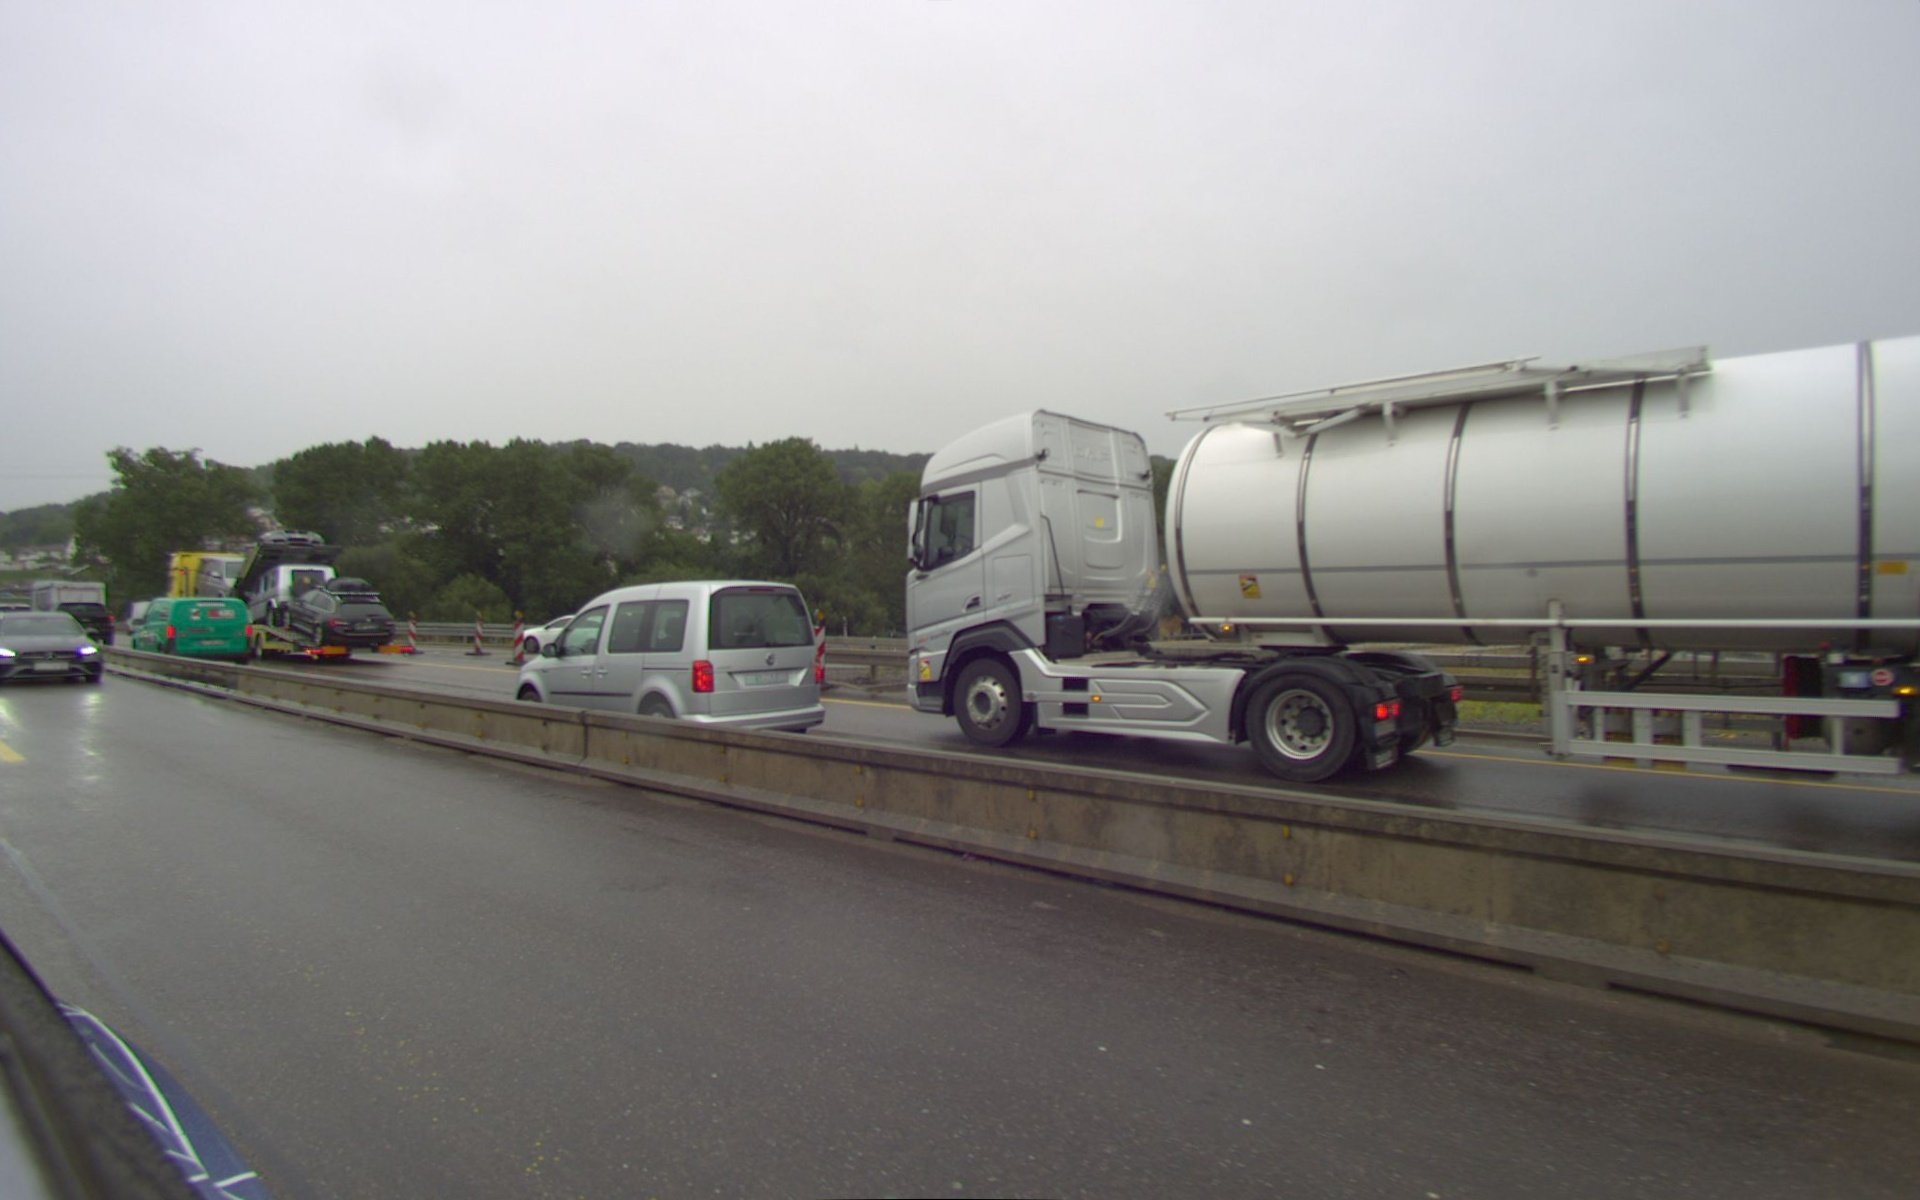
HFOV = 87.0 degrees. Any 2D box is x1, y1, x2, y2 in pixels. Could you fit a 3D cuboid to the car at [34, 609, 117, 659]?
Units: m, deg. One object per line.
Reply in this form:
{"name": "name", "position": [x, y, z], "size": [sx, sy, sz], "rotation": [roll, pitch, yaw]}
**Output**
{"name": "car", "position": [-34.437, 1.288, 39.360], "size": [5.188, 1.819, 1.768], "rotation": [-1, -2, 42]}

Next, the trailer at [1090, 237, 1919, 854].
{"name": "trailer", "position": [6.646, -0.324, 7.043], "size": [11.998, 3.705, 2.593], "rotation": [-1, -1, 41]}

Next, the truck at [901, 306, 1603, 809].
{"name": "truck", "position": [2.633, -0.265, 10.602], "size": [6.592, 3.705, 2.593], "rotation": [-1, -1, 41]}

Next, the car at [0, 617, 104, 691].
{"name": "car", "position": [-20.251, 1.104, 22.024], "size": [4.483, 1.449, 1.926], "rotation": [-1, -1, 43]}

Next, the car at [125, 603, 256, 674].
{"name": "car", "position": [-20.835, 0.997, 27.336], "size": [4.686, 1.772, 1.972], "rotation": [-1, -1, 42]}

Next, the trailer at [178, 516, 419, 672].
{"name": "trailer", "position": [-21.874, -0.062, 32.719], "size": [15.355, 4.073, 2.720], "rotation": [-1, -1, 42]}

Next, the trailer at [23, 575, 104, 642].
{"name": "trailer", "position": [-57.340, 0.569, 64.608], "size": [9.816, 3.994, 2.657], "rotation": [-1, -2, 42]}

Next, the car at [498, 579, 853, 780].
{"name": "car", "position": [-3.273, 0.750, 11.210], "size": [4.161, 1.813, 1.846], "rotation": [-1, -1, 41]}

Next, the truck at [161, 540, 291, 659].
{"name": "truck", "position": [-27.531, 0.029, 37.862], "size": [6.146, 4.093, 2.720], "rotation": [-1, -1, 42]}

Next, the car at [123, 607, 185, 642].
{"name": "car", "position": [-49.181, 1.487, 61.716], "size": [5.045, 2.029, 2.240], "rotation": [-1, -1, 42]}

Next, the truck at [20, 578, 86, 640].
{"name": "truck", "position": [-60.446, 0.615, 67.423], "size": [5.272, 3.957, 2.657], "rotation": [-1, -2, 42]}

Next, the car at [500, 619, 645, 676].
{"name": "car", "position": [-14.643, 1.762, 38.361], "size": [4.792, 2.078, 2.064], "rotation": [0, -1, 11]}

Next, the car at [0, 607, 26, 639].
{"name": "car", "position": [-55.659, 1.335, 58.585], "size": [5.358, 1.806, 1.855], "rotation": [-1, -1, 42]}
